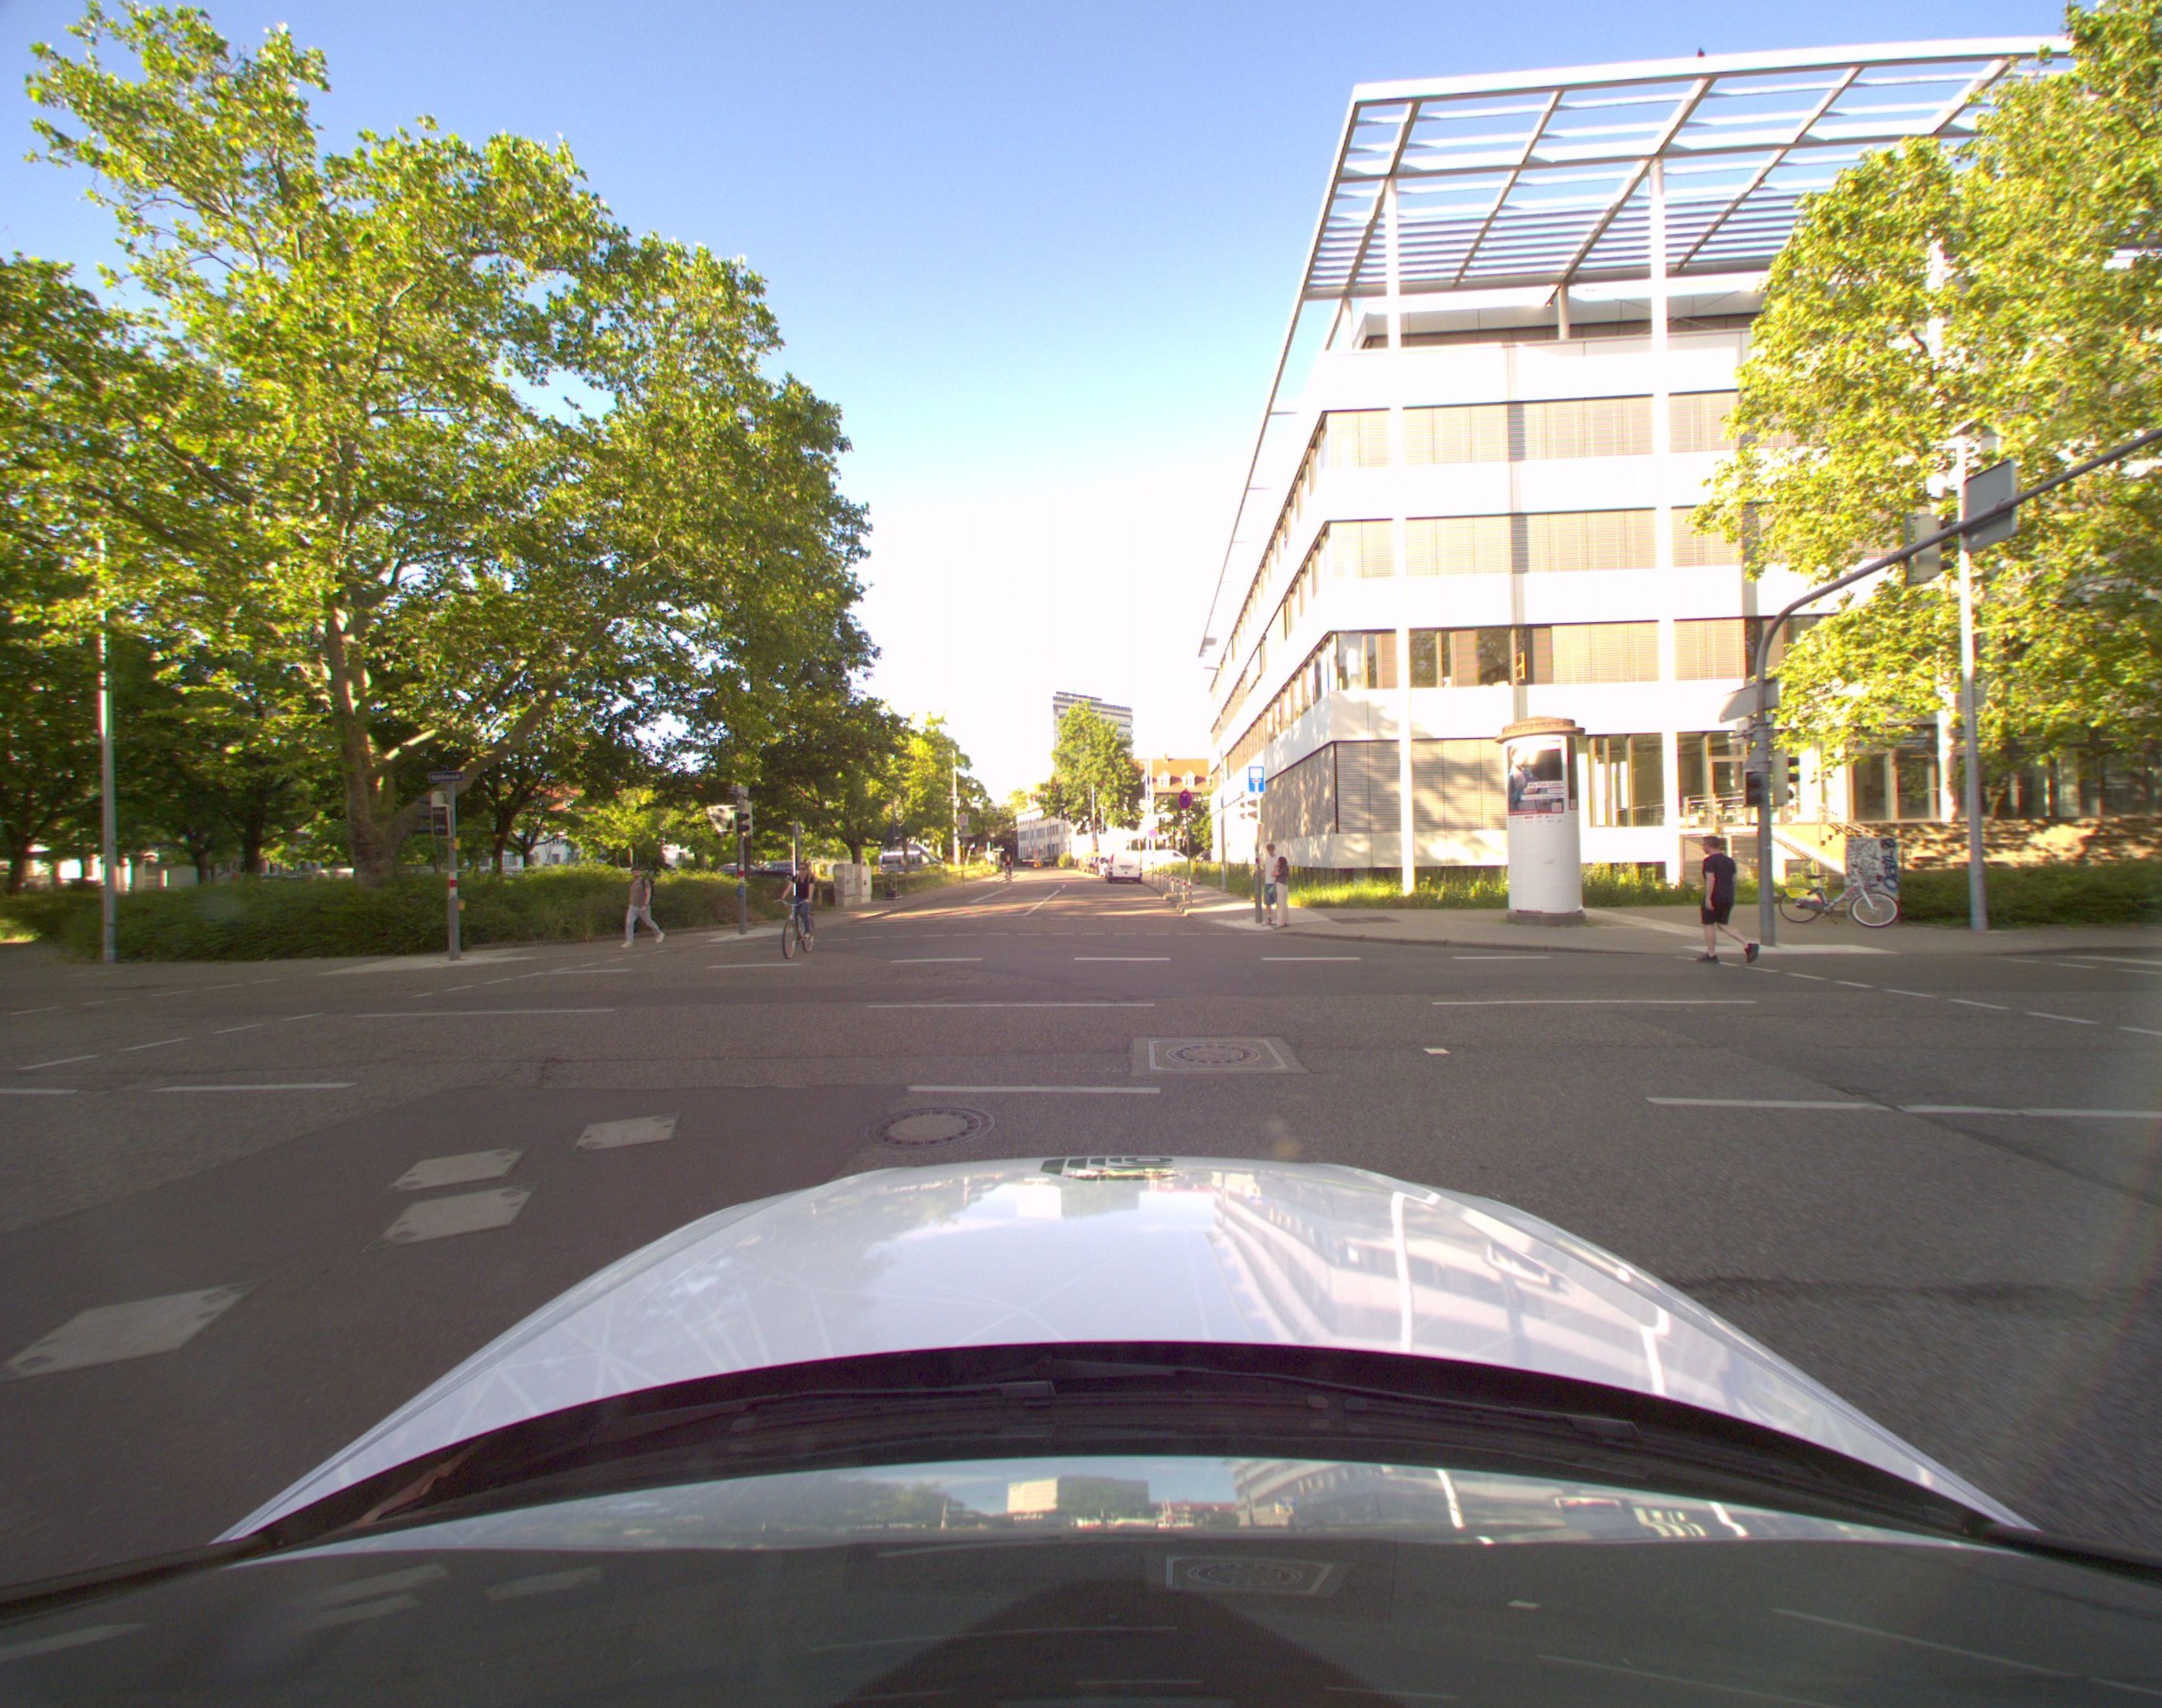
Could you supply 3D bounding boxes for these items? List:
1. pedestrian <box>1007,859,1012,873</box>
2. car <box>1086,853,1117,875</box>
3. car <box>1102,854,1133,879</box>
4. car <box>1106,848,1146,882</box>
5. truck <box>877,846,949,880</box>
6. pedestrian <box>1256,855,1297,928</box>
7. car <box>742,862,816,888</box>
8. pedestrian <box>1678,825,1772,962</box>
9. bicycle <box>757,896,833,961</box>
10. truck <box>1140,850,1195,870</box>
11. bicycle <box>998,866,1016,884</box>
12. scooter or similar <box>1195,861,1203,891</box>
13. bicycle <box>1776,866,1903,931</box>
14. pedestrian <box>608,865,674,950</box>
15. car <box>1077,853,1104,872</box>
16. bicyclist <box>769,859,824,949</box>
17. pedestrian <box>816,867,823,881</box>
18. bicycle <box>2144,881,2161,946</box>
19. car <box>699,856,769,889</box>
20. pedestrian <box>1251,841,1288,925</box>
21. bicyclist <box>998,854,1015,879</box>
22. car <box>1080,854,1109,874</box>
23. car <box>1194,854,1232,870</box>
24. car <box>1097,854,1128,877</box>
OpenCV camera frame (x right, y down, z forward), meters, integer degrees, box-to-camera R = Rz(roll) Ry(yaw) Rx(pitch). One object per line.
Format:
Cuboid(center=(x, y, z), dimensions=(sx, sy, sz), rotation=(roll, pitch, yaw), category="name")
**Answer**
Cuboid(center=(-8.683, 1.428, 99.245), dimensions=(0.545, 1.677, 0.475), rotation=(-1, -1, -7), category="pedestrian")
Cuboid(center=(1.630, 0.789, 67.791), dimensions=(1.887, 1.655, 4.403), rotation=(-1, 1, -8), category="car")
Cuboid(center=(2.416, 0.822, 54.801), dimensions=(1.882, 1.555, 4.415), rotation=(-1, 1, 1), category="car")
Cuboid(center=(2.499, 0.594, 46.532), dimensions=(2.078, 1.795, 4.415), rotation=(-1, 1, 1), category="car")
Cuboid(center=(-12.265, 0.660, 59.604), dimensions=(4.812, 2.399, 2.087), rotation=(-1, 0, 0), category="truck")
Cuboid(center=(4.329, 0.815, 18.074), dimensions=(0.559, 1.540, 0.675), rotation=(-4, 0, -8), category="pedestrian")
Cuboid(center=(-22.227, 1.511, 60.059), dimensions=(4.538, 1.730, 2.075), rotation=(-2, -1, 1), category="car")
Cuboid(center=(8.948, 0.525, 11.349), dimensions=(0.702, 1.840, 0.839), rotation=(0, 0, 10), category="pedestrian")
Cuboid(center=(-5.021, 1.286, 14.421), dimensions=(0.613, 0.970, 1.842), rotation=(-2, 0, 2), category="bicycle")
Cuboid(center=(8.895, 0.622, 84.334), dimensions=(5.336, 2.014, 1.994), rotation=(-1, -1, -9), category="truck")
Cuboid(center=(-4.638, 1.307, 51.157), dimensions=(0.863, 1.009, 2.413), rotation=(-4, -1, 0), category="bicycle")
Cuboid(center=(5.731, 1.076, 39.580), dimensions=(0.329, 1.424, 1.336), rotation=(1, -1, 5), category="scooter or similar")
Cuboid(center=(14.092, 0.794, 15.177), dimensions=(0.509, 1.049, 1.674), rotation=(-3, 2, -24), category="bicycle")
Cuboid(center=(-9.327, 1.112, 17.286), dimensions=(0.697, 1.723, 0.959), rotation=(-3, -1, 16), category="pedestrian")
Cuboid(center=(0.873, 0.808, 78.040), dimensions=(1.887, 1.655, 4.403), rotation=(-1, 1, -8), category="car")
Cuboid(center=(-5.029, 0.861, 14.439), dimensions=(0.613, 1.532, 0.904), rotation=(-2, -1, 2), category="bicyclist")
Cuboid(center=(-25.394, 1.965, 79.047), dimensions=(0.559, 1.323, 0.574), rotation=(-1, -1, -16), category="pedestrian")
Cuboid(center=(16.731, 0.846, 11.628), dimensions=(2.103, 0.927, 0.731), rotation=(-1, -1, 1), category="bicycle")
Cuboid(center=(-27.293, 1.440, 64.178), dimensions=(4.538, 2.391, 2.075), rotation=(-2, -1, 1), category="car")
Cuboid(center=(4.329, 0.659, 18.692), dimensions=(0.554, 1.851, 0.681), rotation=(-4, 0, 26), category="pedestrian")
Cuboid(center=(-4.661, 0.786, 51.181), dimensions=(0.863, 1.515, 1.019), rotation=(-4, -1, -1), category="bicyclist")
Cuboid(center=(1.168, 0.843, 72.993), dimensions=(1.887, 1.655, 4.403), rotation=(-1, 1, -8), category="car")
Cuboid(center=(13.736, 0.813, 84.691), dimensions=(3.553, 1.546, 1.554), rotation=(-1, -1, -9), category="car")
Cuboid(center=(2.296, 0.815, 60.293), dimensions=(1.884, 1.555, 4.411), rotation=(-1, 1, -3), category="car")
